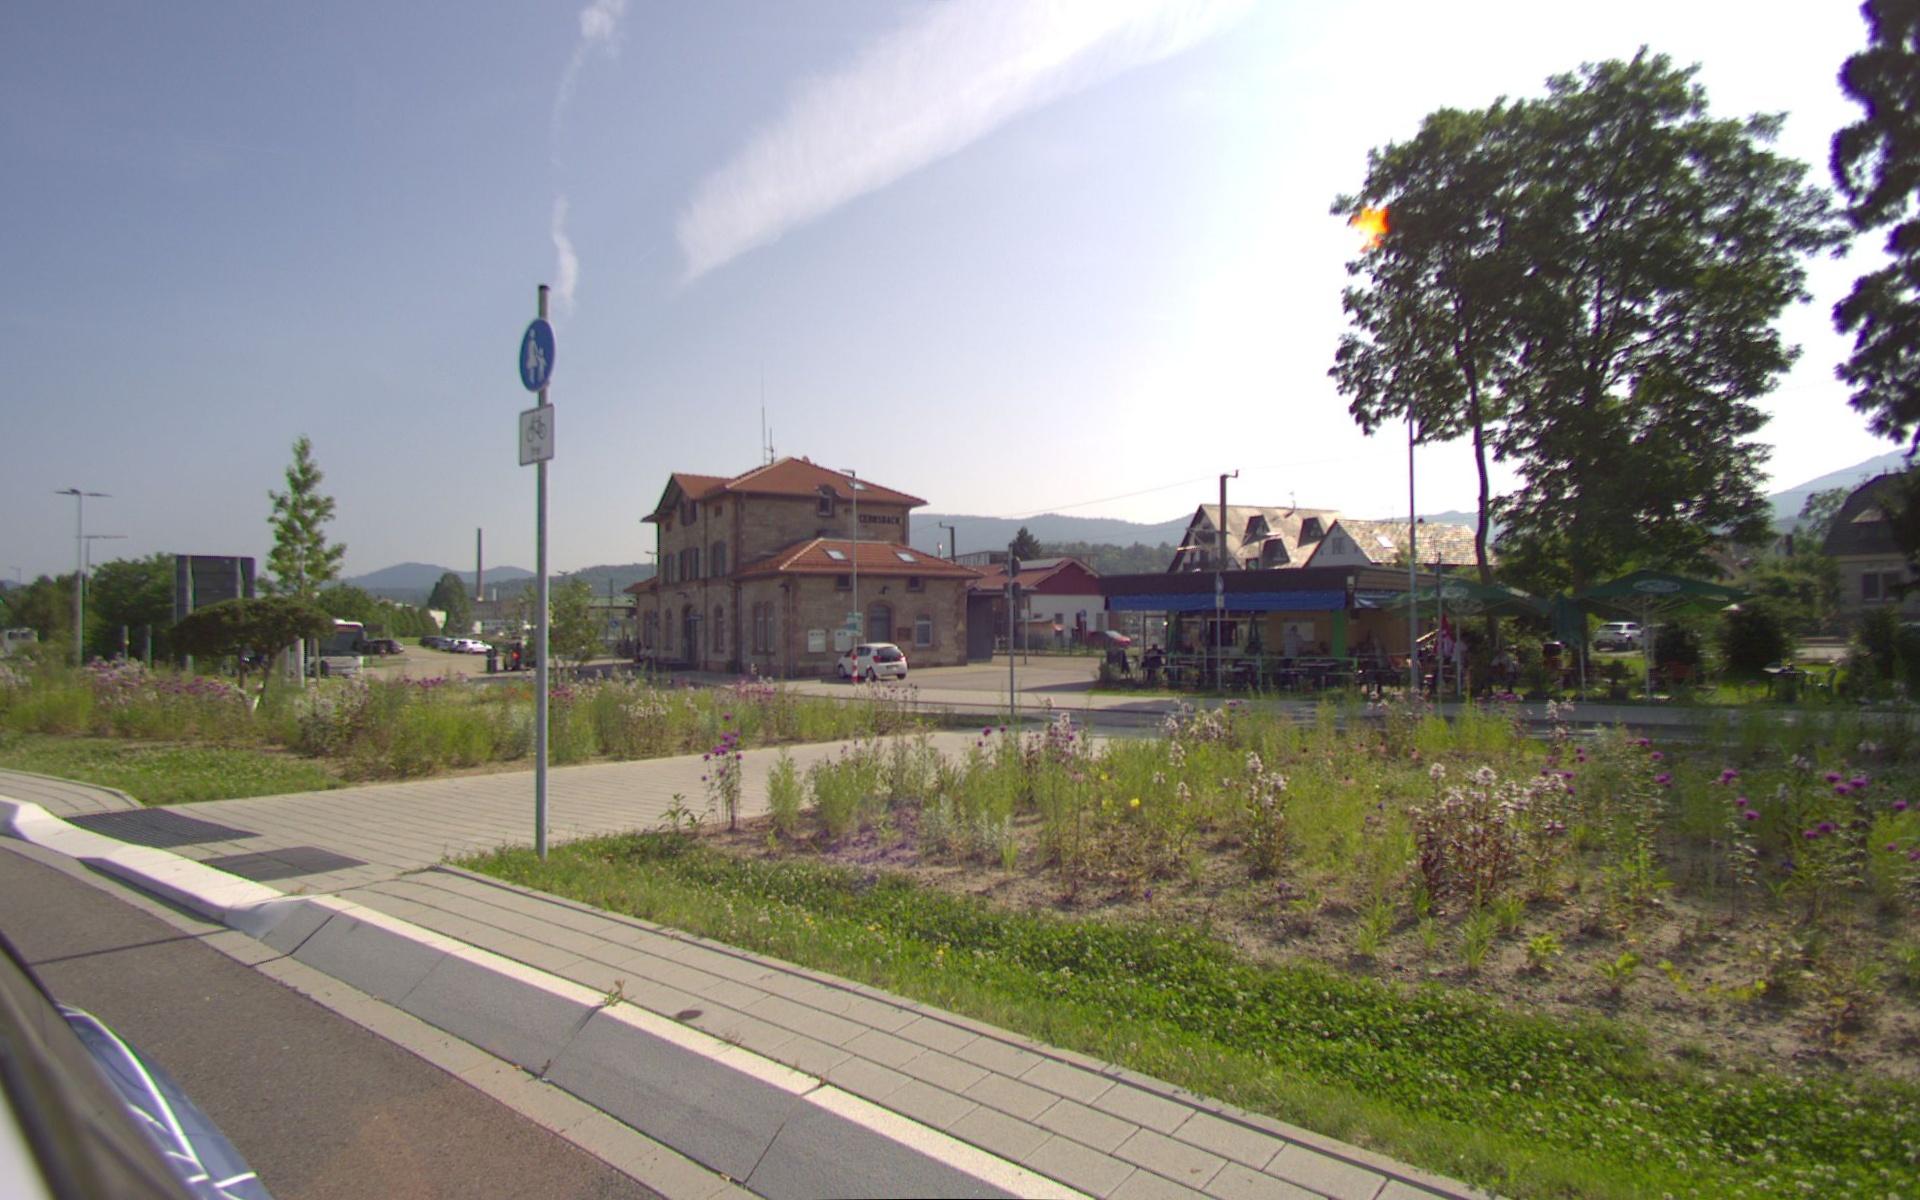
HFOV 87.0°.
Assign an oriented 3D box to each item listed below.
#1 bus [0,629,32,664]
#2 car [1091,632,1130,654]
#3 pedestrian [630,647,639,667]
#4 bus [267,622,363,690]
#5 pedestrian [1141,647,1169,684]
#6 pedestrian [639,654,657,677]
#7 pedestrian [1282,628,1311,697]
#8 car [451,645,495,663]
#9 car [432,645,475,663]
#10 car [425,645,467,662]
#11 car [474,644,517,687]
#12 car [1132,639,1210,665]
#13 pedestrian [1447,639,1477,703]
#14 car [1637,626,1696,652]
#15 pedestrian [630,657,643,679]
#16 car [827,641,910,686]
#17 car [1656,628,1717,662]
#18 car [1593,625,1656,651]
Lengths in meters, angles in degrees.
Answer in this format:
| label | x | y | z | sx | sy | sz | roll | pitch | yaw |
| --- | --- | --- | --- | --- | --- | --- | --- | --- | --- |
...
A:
| label | x | y | z | sx | sy | sz | roll | pitch | yaw |
| --- | --- | --- | --- | --- | --- | --- | --- | --- | --- |
| bus | -91.756 | 4.449 | 97.580 | 2.824 | 3.216 | 9.133 | -1 | -1 | -40 |
| car | 12.221 | 3.465 | 82.164 | 1.579 | 1.506 | 3.663 | -2 | 1 | -19 |
| pedestrian | -19.684 | 3.414 | 61.153 | 0.365 | 1.171 | 0.508 | -2 | 0 | -33 |
| bus | -35.882 | 3.036 | 56.056 | 2.549 | 3.354 | 10.599 | -2 | 0 | -43 |
| pedestrian | 6.388 | 2.133 | 33.109 | 0.679 | 1.172 | 0.553 | -3 | 0 | 34 |
| pedestrian | -16.866 | 3.543 | 54.732 | 0.777 | 1.171 | 0.508 | -2 | 0 | -33 |
| pedestrian | 10.252 | 1.903 | 30.818 | 0.704 | 2.029 | 0.852 | -3 | 0 | 23 |
| car | -54.278 | 6.022 | 112.870 | 1.835 | 1.740 | 3.950 | -3 | 0 | 38 |
| car | -57.966 | 6.199 | 115.932 | 1.835 | 1.740 | 3.950 | -3 | 0 | 38 |
| car | -60.875 | 6.340 | 119.876 | 1.835 | 1.740 | 3.950 | -3 | 0 | 38 |
| car | -24.942 | 3.469 | 54.321 | 1.944 | 1.979 | 5.174 | -3 | 0 | -25 |
| car | 10.881 | 2.687 | 52.303 | 1.408 | 1.186 | 3.743 | -2 | -1 | -44 |
| pedestrian | 12.893 | 1.818 | 25.995 | 0.564 | 1.602 | 0.645 | -3 | 0 | 23 |
| car | 36.710 | 2.020 | 52.566 | 3.132 | 1.106 | 1.384 | -3 | -1 | -32 |
| pedestrian | -18.078 | 3.817 | 56.547 | 0.504 | 1.171 | 0.508 | -2 | 0 | -33 |
| car | -3.795 | 2.568 | 41.687 | 1.653 | 1.580 | 3.658 | -2 | 1 | -38 |
| car | 38.392 | 2.349 | 53.445 | 3.592 | 1.506 | 1.610 | -3 | 1 | -38 |
| car | 36.197 | 2.046 | 55.077 | 3.473 | 1.186 | 1.502 | -3 | -1 | -32 |
